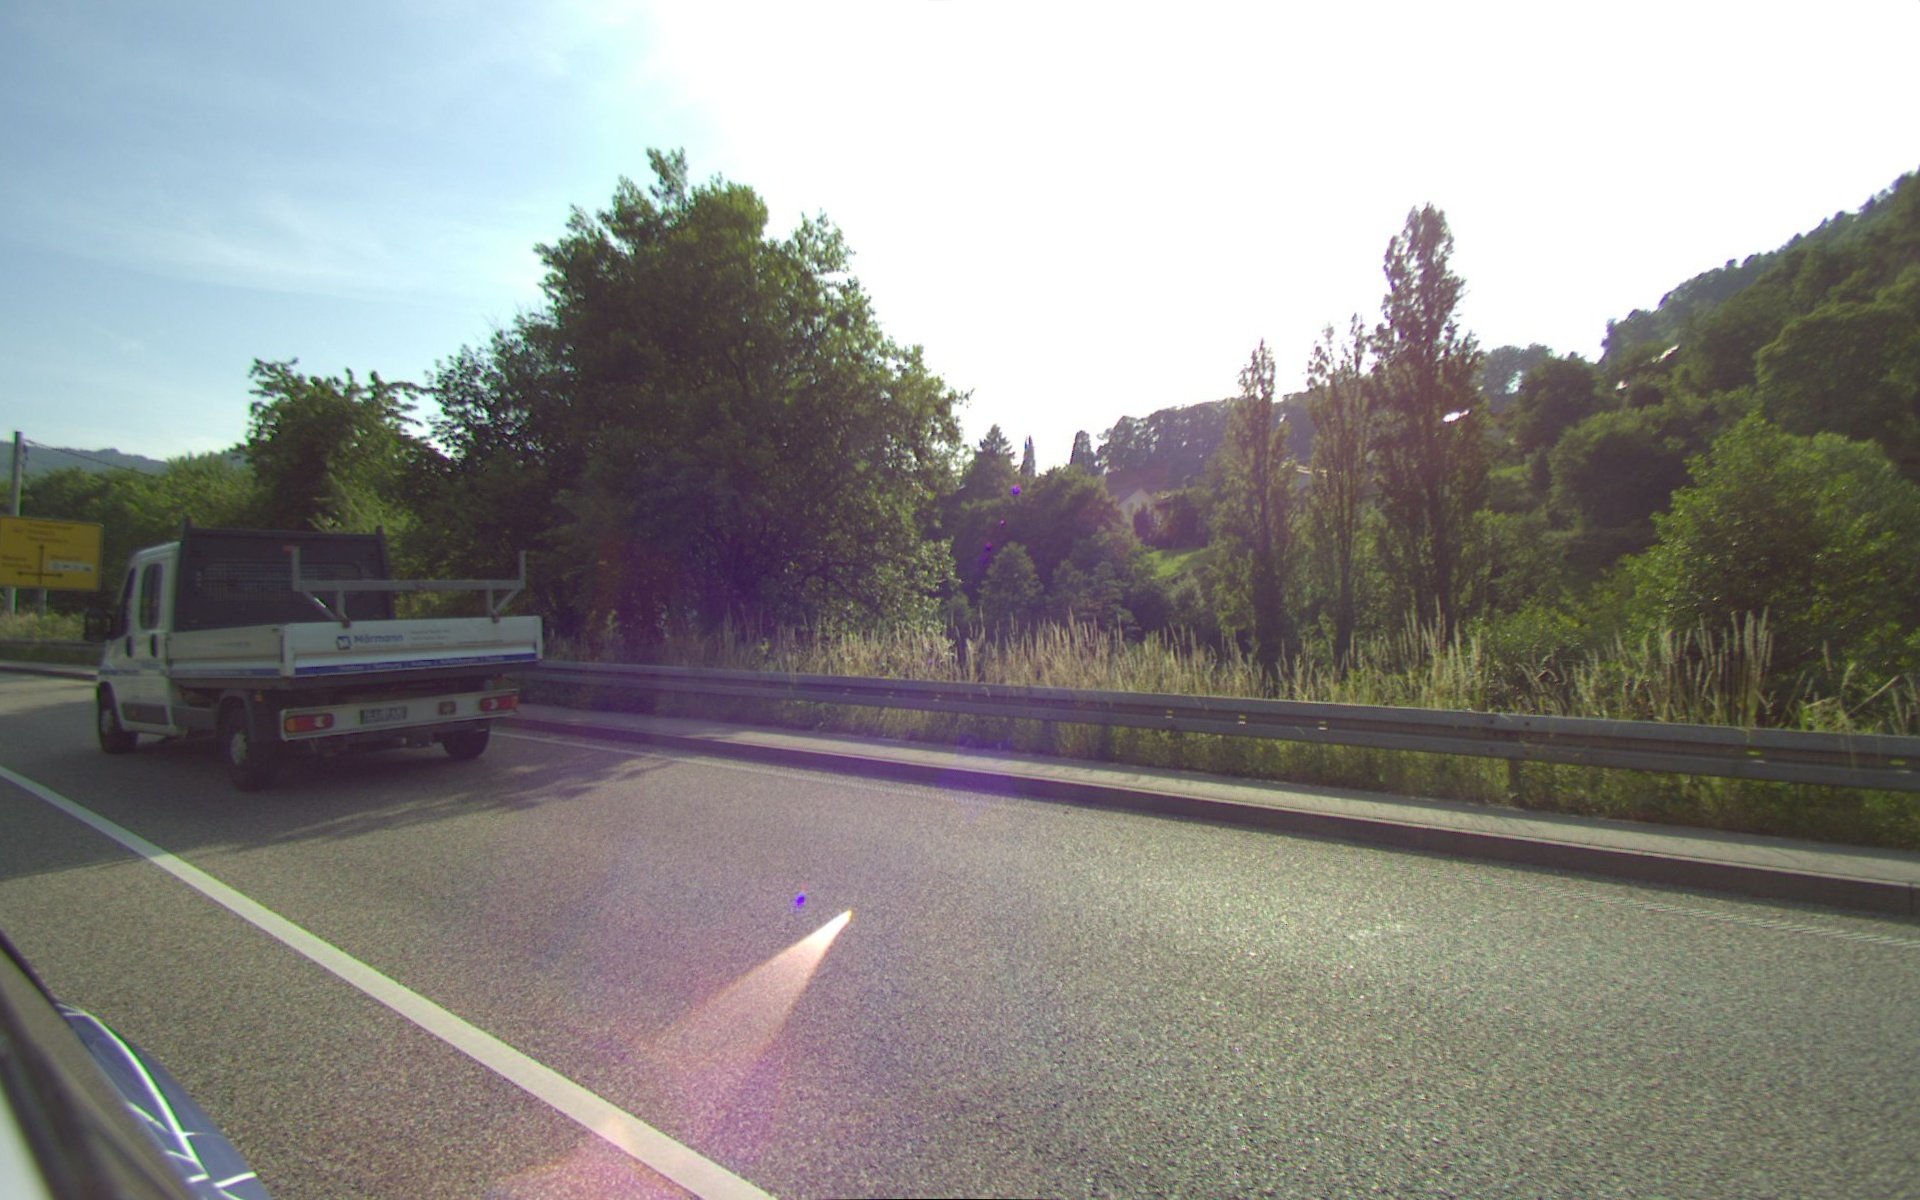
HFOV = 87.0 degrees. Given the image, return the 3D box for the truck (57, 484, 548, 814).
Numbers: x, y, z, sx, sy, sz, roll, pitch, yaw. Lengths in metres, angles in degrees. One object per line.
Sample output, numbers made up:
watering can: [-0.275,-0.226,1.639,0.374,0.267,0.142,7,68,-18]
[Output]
truck: [-6.969,0.397,10.258,6.737,2.383,2.136,-1,0,38]
